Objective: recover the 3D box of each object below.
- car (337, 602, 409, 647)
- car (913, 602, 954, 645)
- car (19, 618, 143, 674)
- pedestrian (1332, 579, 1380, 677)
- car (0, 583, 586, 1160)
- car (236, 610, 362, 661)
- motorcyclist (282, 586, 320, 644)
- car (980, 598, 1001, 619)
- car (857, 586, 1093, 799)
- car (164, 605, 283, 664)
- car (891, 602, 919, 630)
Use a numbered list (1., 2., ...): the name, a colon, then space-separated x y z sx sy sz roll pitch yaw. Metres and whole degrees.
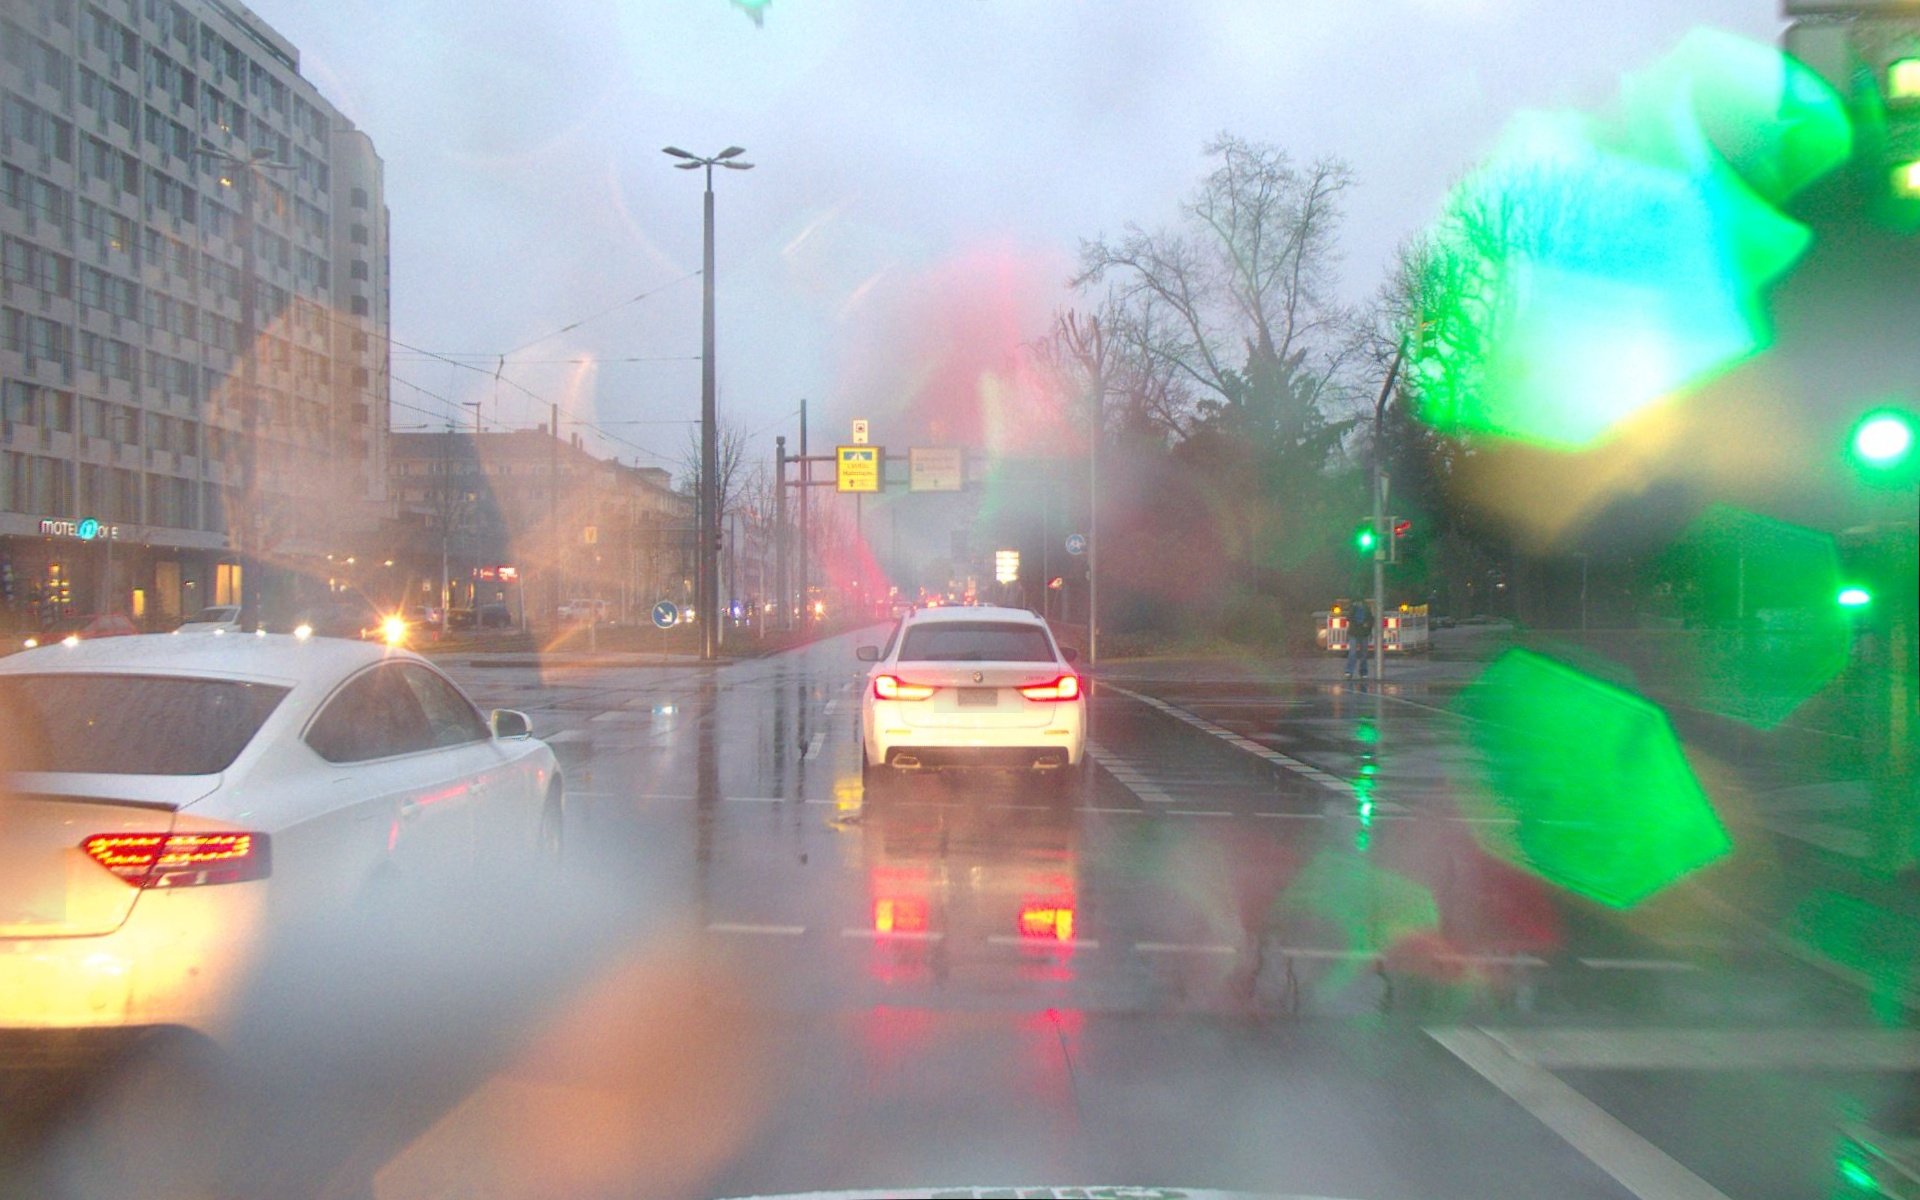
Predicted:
1. car: -20.976 0.843 59.285 1.960 1.487 5.075 1 0 -15
2. car: -1.315 1.133 82.418 1.953 2.049 3.999 1 0 -1
3. car: -27.301 1.394 51.519 1.844 1.601 3.998 1 0 -3
4. pedestrian: 7.893 0.557 32.939 0.701 1.912 0.672 1 -1 36
5. car: -2.719 0.711 6.408 1.724 1.495 4.249 1 0 -3
6. car: -20.754 1.087 52.161 1.953 1.487 5.094 1 0 -1
7. motorcyclist: -22.418 0.502 56.258 0.853 1.918 1.033 1 -1 -1
8. car: 3.087 0.894 166.797 1.953 2.049 3.999 1 0 -1
9. car: -0.017 0.708 14.581 1.725 1.580 4.248 1 0 -4
10. car: -23.866 1.084 53.754 1.843 1.821 4.597 1 0 -1
11. car: -4.091 1.172 123.219 1.953 2.049 3.999 1 0 -1
